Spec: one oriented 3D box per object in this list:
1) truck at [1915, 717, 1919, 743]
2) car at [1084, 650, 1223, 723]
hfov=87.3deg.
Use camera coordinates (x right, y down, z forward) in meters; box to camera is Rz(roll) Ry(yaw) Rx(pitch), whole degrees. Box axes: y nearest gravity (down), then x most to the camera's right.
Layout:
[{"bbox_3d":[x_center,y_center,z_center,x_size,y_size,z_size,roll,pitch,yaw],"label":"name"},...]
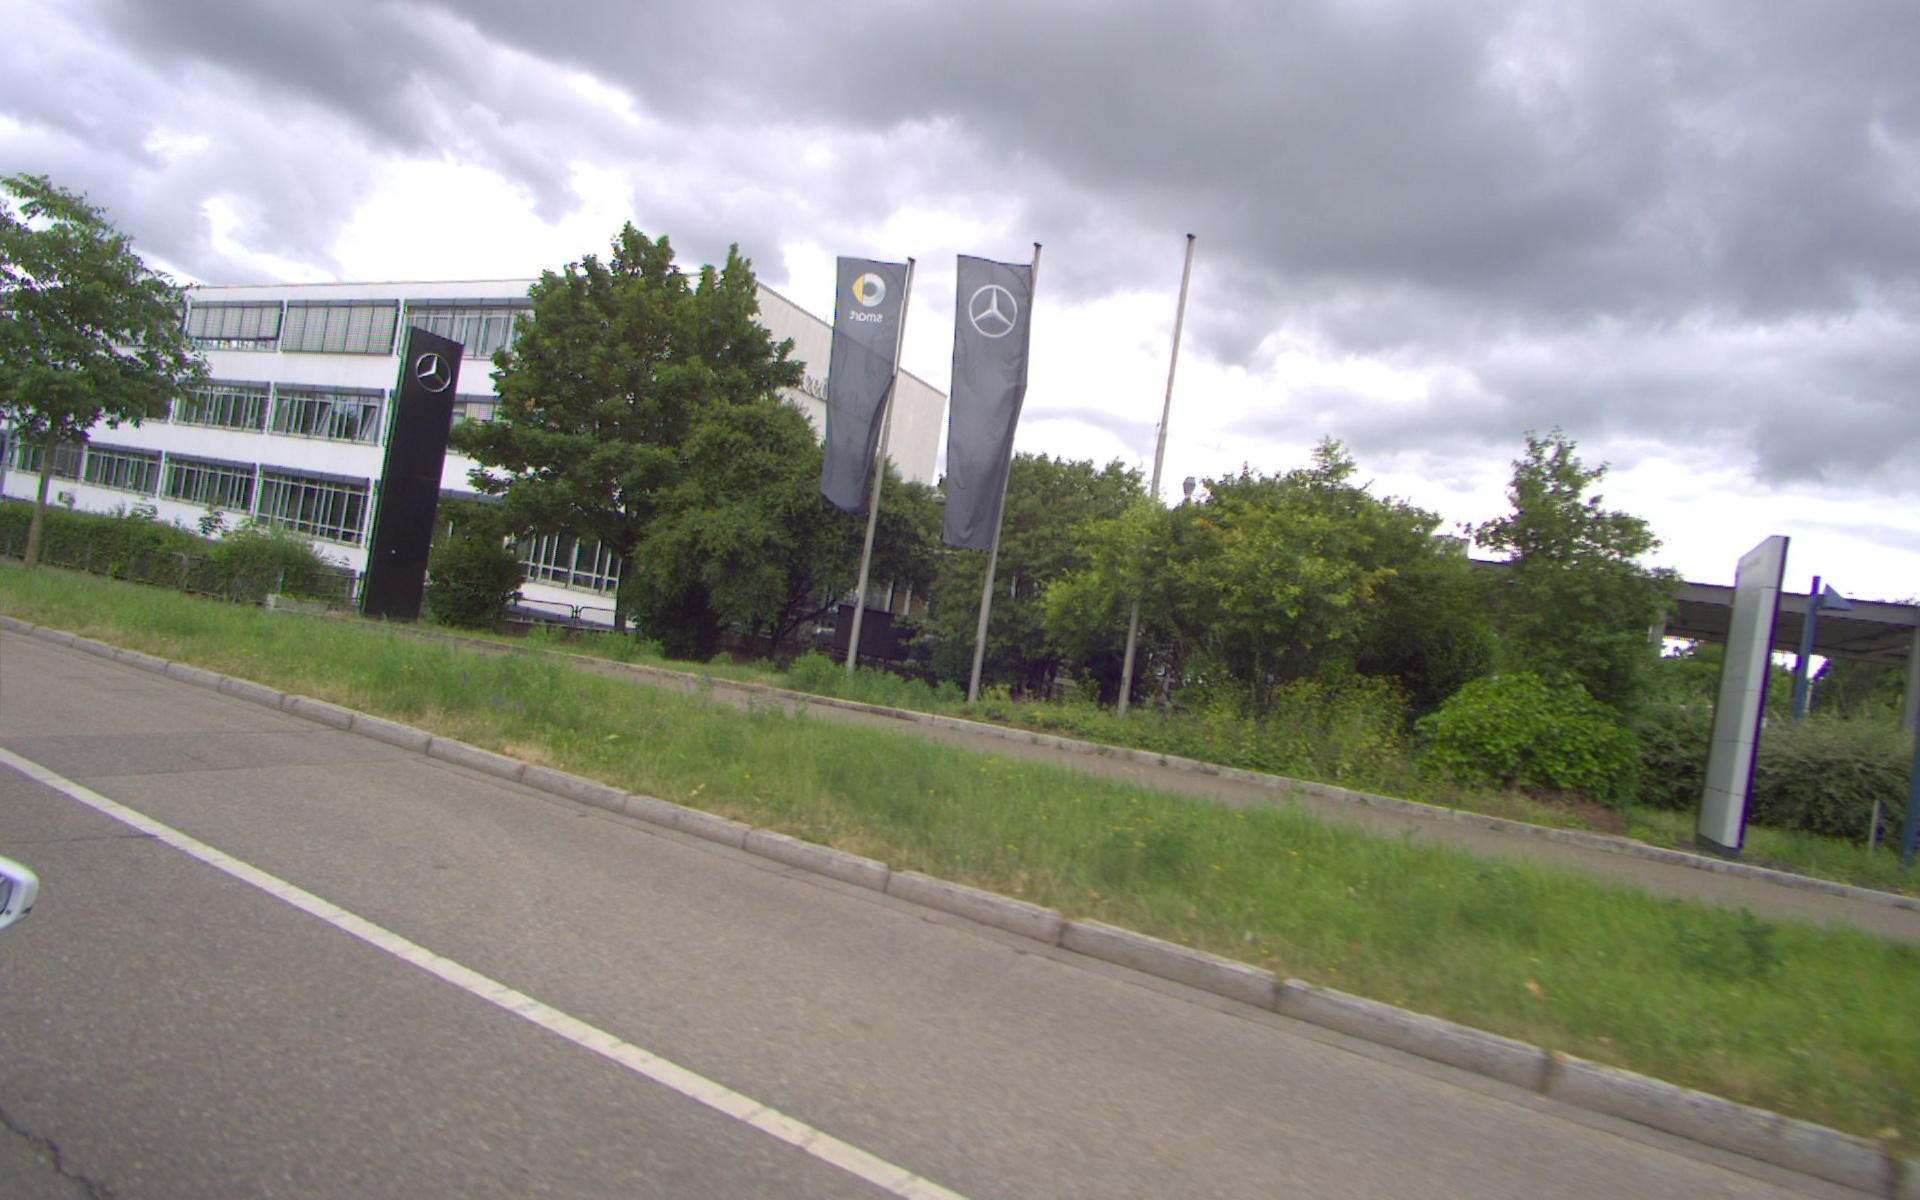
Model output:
[{"bbox_3d":[74.934,10.031,76.727,1.966,2.036,3.998,6,-3,30],"label":"truck"},{"bbox_3d":[4.934,2.197,25.646,3.023,1.310,1.599,9,-1,27],"label":"car"}]
